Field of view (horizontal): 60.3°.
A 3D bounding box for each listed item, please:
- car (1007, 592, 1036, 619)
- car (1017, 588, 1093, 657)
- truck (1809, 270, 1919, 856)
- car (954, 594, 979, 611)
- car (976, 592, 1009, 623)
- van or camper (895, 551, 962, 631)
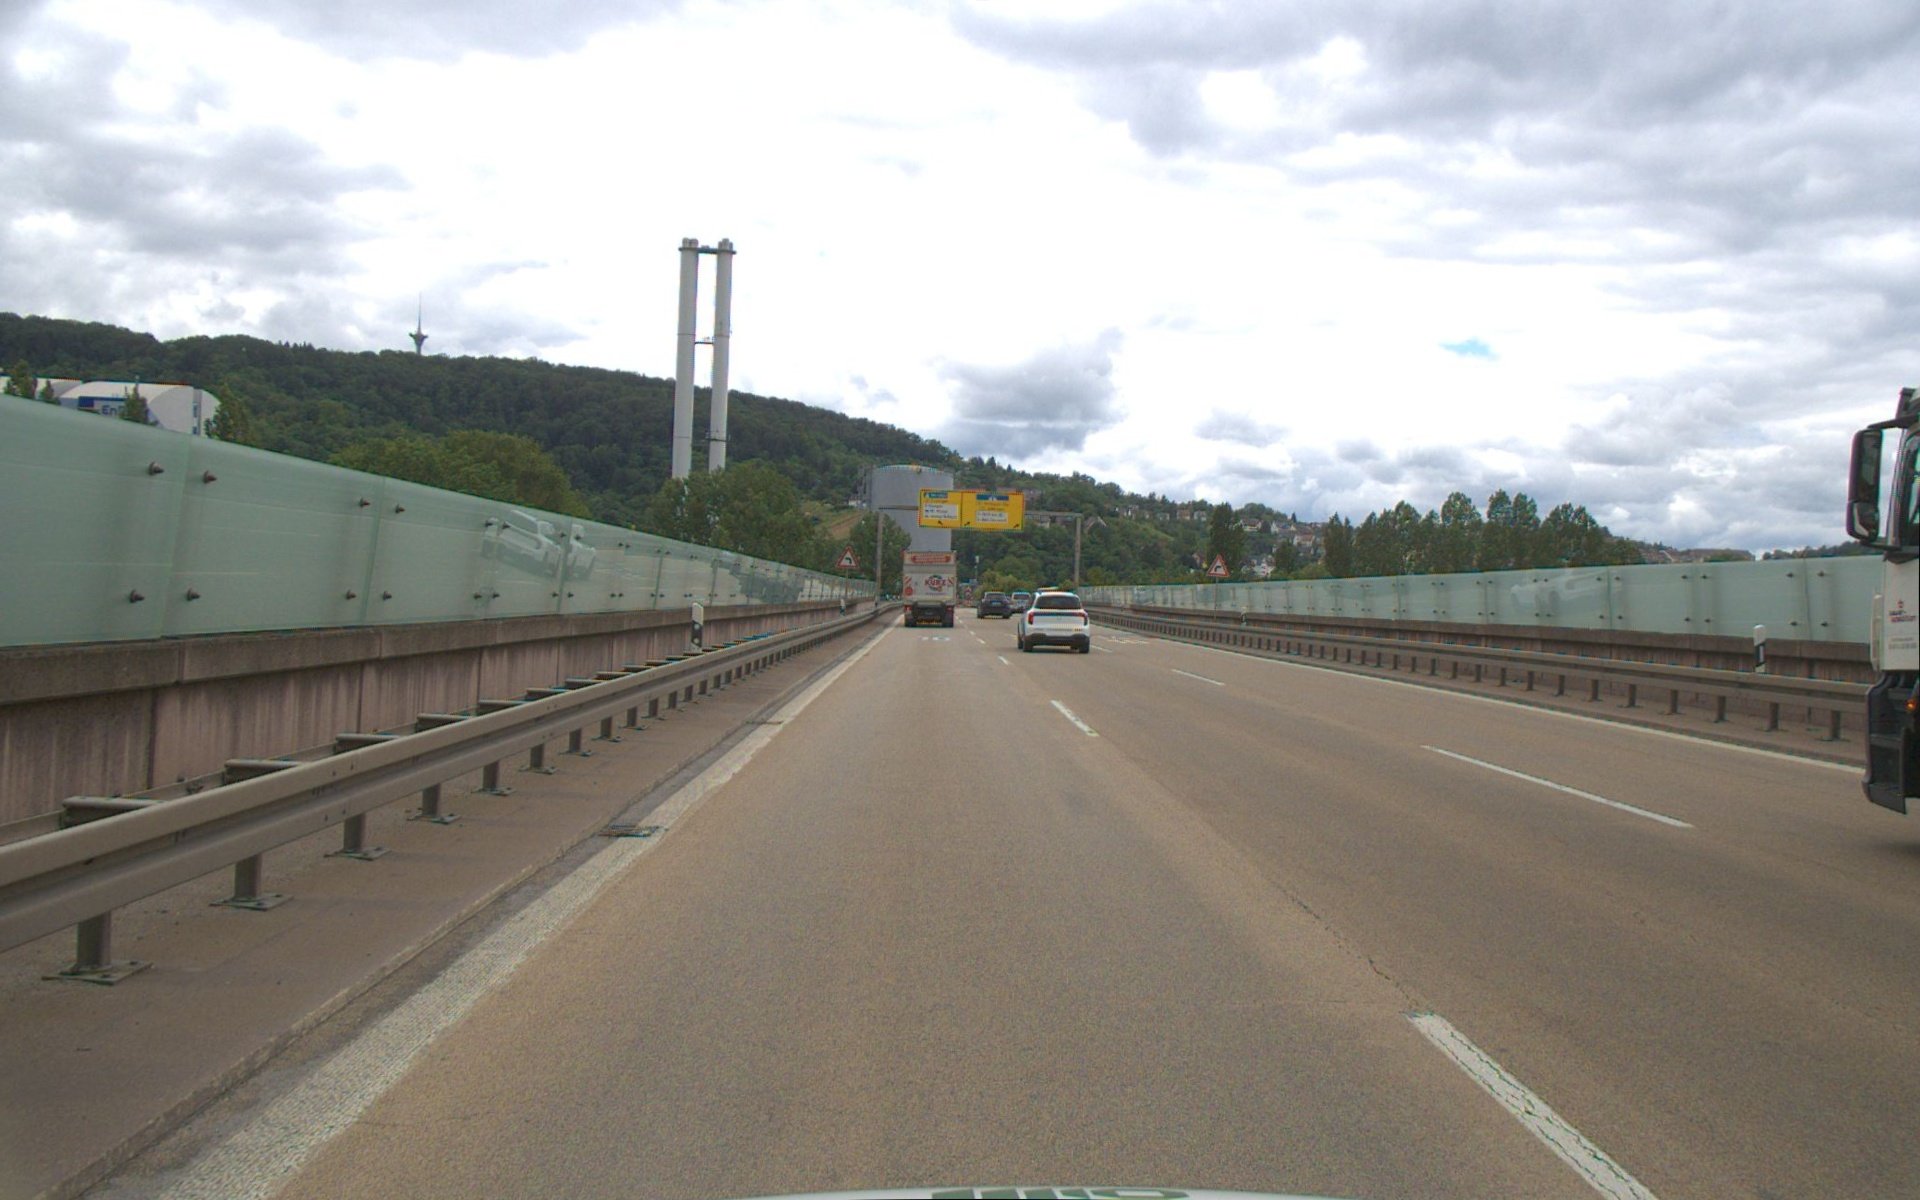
[{"bbox_3d":[4.384,0.352,118.013,1.884,1.816,4.113,1,1,0],"label":"car"},{"bbox_3d":[2.658,0.592,47.169,1.884,1.816,4.113,1,1,-1],"label":"car"},{"bbox_3d":[7.160,-0.205,8.901,2.577,3.575,4.903,1,0,-1],"label":"truck"},{"bbox_3d":[0.829,0.308,206.175,2.420,2.014,5.164,1,0,8],"label":"car"},{"bbox_3d":[2.004,0.454,103.285,1.884,1.816,4.113,1,1,-1],"label":"car"},{"bbox_3d":[-1.452,-0.449,80.897,3.058,3.641,8.550,1,0,0],"label":"van or camper"}]
